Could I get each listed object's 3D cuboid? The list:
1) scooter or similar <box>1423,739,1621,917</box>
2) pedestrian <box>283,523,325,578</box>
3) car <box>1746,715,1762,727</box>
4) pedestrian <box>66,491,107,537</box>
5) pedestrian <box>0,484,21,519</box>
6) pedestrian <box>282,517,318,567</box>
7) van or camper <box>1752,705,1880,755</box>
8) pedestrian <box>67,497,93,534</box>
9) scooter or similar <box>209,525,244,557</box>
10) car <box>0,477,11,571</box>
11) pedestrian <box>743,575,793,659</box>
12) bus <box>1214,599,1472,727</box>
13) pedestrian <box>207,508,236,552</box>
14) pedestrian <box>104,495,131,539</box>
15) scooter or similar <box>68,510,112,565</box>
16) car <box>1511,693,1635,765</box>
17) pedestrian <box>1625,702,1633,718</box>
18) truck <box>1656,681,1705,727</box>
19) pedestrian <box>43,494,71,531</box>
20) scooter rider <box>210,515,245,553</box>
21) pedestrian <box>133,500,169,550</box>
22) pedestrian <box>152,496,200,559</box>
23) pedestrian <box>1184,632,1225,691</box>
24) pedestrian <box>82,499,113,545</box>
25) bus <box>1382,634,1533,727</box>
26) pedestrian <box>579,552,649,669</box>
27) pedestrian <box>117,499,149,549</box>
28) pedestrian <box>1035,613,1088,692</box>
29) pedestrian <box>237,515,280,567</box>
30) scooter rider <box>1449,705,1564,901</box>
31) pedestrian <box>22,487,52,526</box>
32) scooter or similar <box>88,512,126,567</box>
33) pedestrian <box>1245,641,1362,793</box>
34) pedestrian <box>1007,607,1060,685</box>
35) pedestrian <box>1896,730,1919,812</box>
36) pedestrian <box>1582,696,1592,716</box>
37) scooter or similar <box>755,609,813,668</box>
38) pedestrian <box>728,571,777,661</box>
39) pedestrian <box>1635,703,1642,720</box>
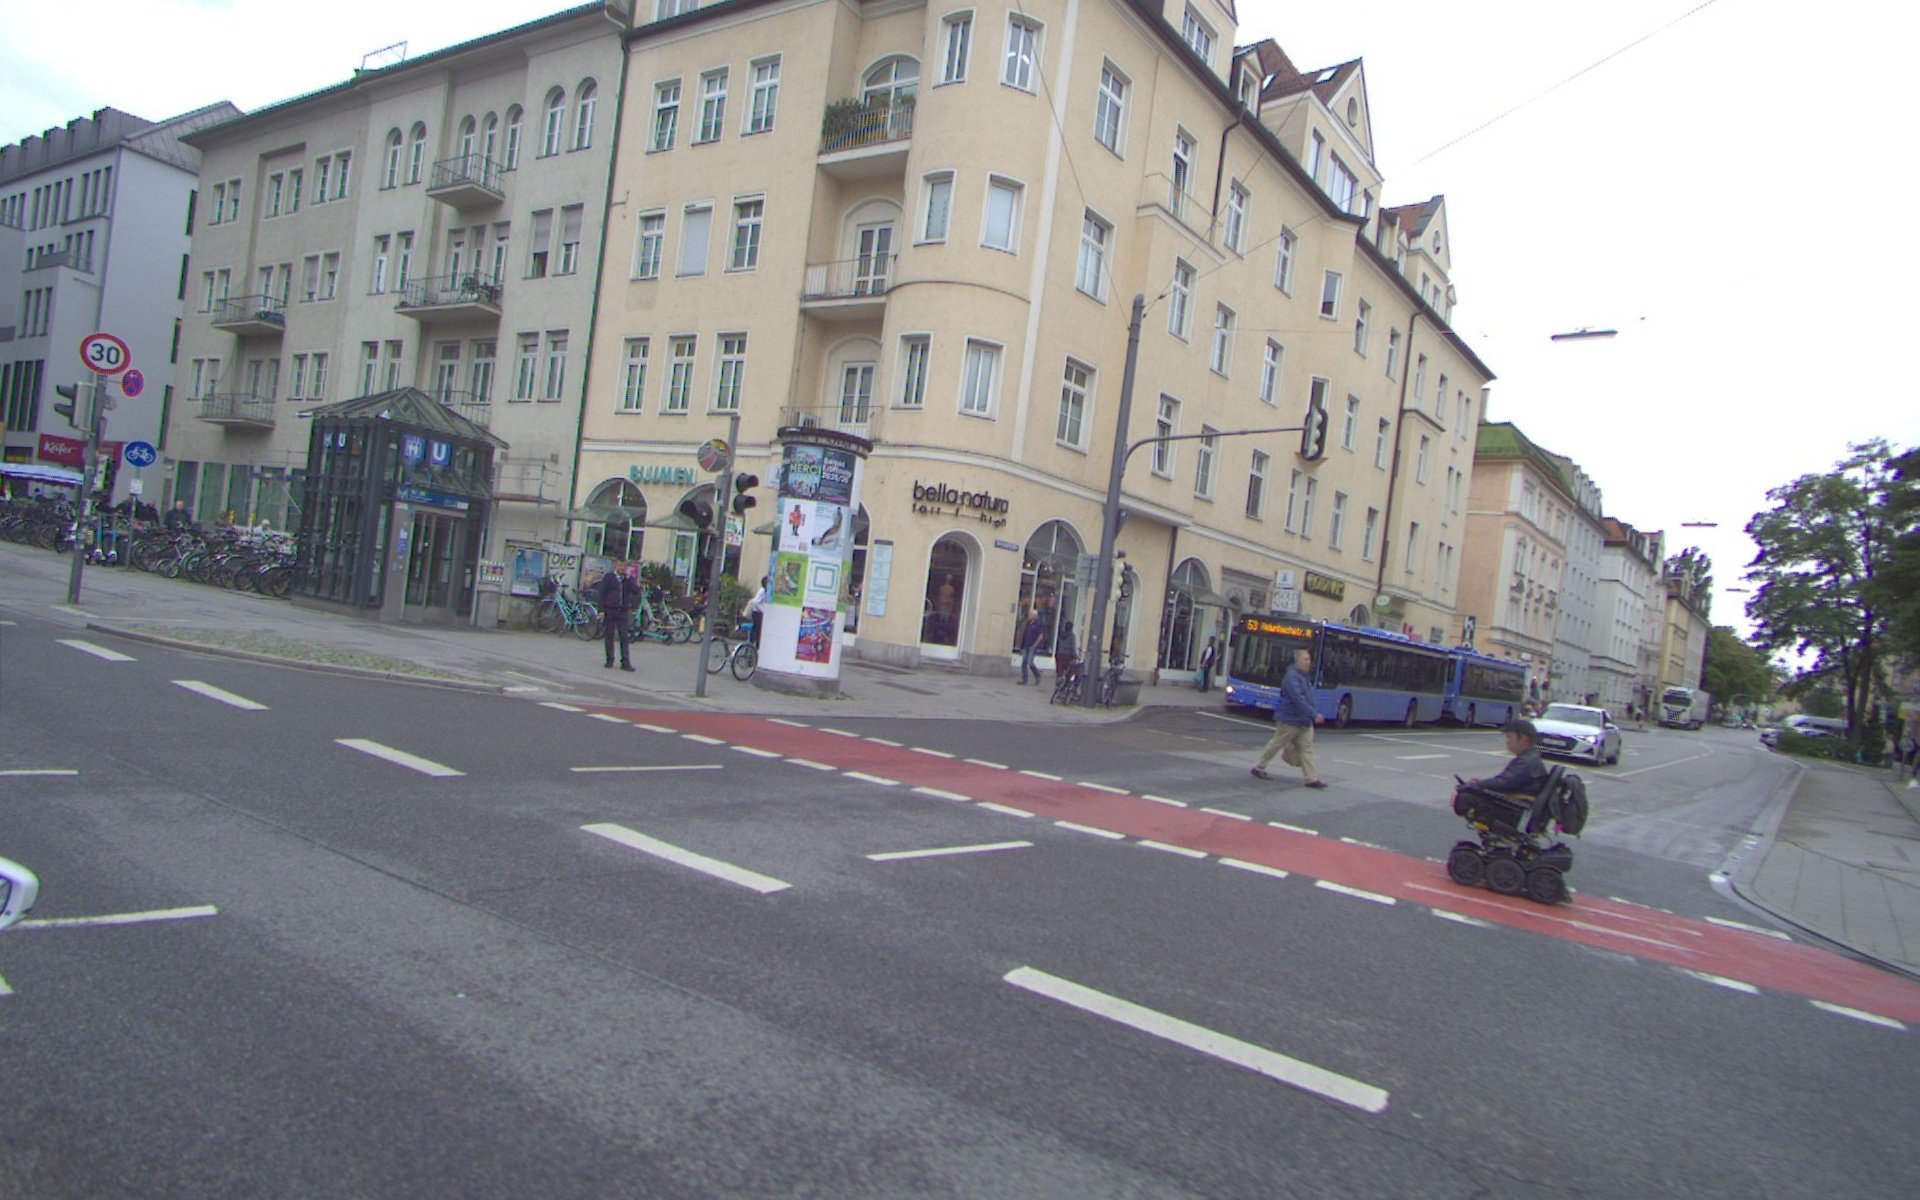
[{"bbox_3d":[4.526,1.796,8.159,1.235,1.088,0.777,7,0,30],"label":"scooter or similar"},{"bbox_3d":[-21.464,-1.628,32.919,0.745,1.672,0.751,7,2,30],"label":"pedestrian"},{"bbox_3d":[145.137,22.148,183.844,1.972,1.904,3.982,7,-1,42],"label":"car"},{"bbox_3d":[-31.730,-3.111,36.546,0.801,1.541,0.795,7,1,-25],"label":"pedestrian"},{"bbox_3d":[-41.826,-4.346,44.216,0.570,1.419,0.599,7,0,31],"label":"pedestrian"},{"bbox_3d":[-22.795,-2.013,34.742,0.774,1.588,0.649,7,1,32],"label":"pedestrian"},{"bbox_3d":[56.956,8.633,67.055,6.019,2.305,2.001,7,0,15],"label":"van or camper"},{"bbox_3d":[-36.914,-3.538,42.200,0.570,1.419,0.575,7,0,31],"label":"pedestrian"},{"bbox_3d":[-25.887,-2.081,35.480,1.106,0.955,0.535,7,1,30],"label":"scooter or similar"},{"bbox_3d":[-11.614,-0.680,10.384,3.497,1.609,1.705,7,0,32],"label":"car"},{"bbox_3d":[-3.980,0.364,20.843,0.560,1.630,0.559,12,4,44],"label":"pedestrian"},{"bbox_3d":[12.663,2.266,31.896,2.776,3.003,13.541,9,0,42],"label":"bus"},{"bbox_3d":[-29.642,-2.798,40.376,0.553,1.664,0.641,7,1,31],"label":"pedestrian"},{"bbox_3d":[-30.517,-2.986,36.450,0.501,1.502,0.462,7,1,-23],"label":"pedestrian"},{"bbox_3d":[-19.967,-1.438,23.107,0.360,1.190,1.337,7,0,-28],"label":"scooter or similar"},{"bbox_3d":[15.926,3.324,26.060,1.869,1.439,3.980,7,-1,43],"label":"car"},{"bbox_3d":[64.131,10.565,96.424,0.404,1.529,0.448,7,1,39],"label":"pedestrian"},{"bbox_3d":[74.163,10.764,103.338,2.869,3.961,18.832,7,-1,39],"label":"truck"},{"bbox_3d":[-37.317,-3.624,41.575,0.570,1.419,0.599,7,0,31],"label":"pedestrian"},{"bbox_3d":[-25.830,-2.325,35.466,0.707,1.235,0.686,7,2,30],"label":"scooter rider"},{"bbox_3d":[-30.581,-2.834,38.013,0.746,1.750,0.743,8,2,31],"label":"pedestrian"},{"bbox_3d":[-23.392,-2.154,30.019,0.746,1.750,0.813,8,2,32],"label":"pedestrian"},{"bbox_3d":[7.666,1.924,31.505,0.736,1.707,0.723,11,3,41],"label":"pedestrian"},{"bbox_3d":[-30.493,-2.749,35.587,0.574,1.523,0.612,7,0,-27],"label":"pedestrian"},{"bbox_3d":[20.269,3.361,40.575,2.776,3.003,9.540,9,0,42],"label":"bus"},{"bbox_3d":[-5.423,0.158,15.759,0.825,1.712,0.815,7,0,-21],"label":"pedestrian"},{"bbox_3d":[-29.639,-2.700,36.062,0.594,1.690,0.682,7,1,-23],"label":"pedestrian"},{"bbox_3d":[2.370,1.233,23.477,0.736,1.707,0.679,11,3,41],"label":"pedestrian"},{"bbox_3d":[-22.332,-1.866,32.011,0.745,1.537,0.778,7,2,30],"label":"pedestrian"},{"bbox_3d":[4.435,1.606,8.175,0.632,1.406,0.702,7,0,30],"label":"scooter rider"},{"bbox_3d":[-41.744,-4.215,45.499,0.729,1.621,0.733,7,1,31],"label":"pedestrian"},{"bbox_3d":[-19.563,-1.379,23.085,0.298,1.190,1.268,7,0,-28],"label":"scooter or similar"},{"bbox_3d":[4.508,1.509,13.196,1.048,1.777,0.934,7,0,34],"label":"pedestrian"},{"bbox_3d":[1.757,1.099,24.012,0.736,1.727,0.679,11,3,41],"label":"pedestrian"},{"bbox_3d":[20.393,3.639,21.218,0.757,1.663,0.757,7,0,42],"label":"pedestrian"},{"bbox_3d":[45.957,7.774,73.728,0.404,1.375,0.448,7,1,39],"label":"pedestrian"},{"bbox_3d":[-3.469,0.766,19.837,0.815,1.007,0.587,8,3,-36],"label":"scooter or similar"},{"bbox_3d":[-4.138,0.317,20.055,0.562,1.692,0.556,7,3,-36],"label":"pedestrian"},{"bbox_3d":[64.633,10.613,95.846,0.404,1.529,0.448,7,1,39],"label":"pedestrian"}]
